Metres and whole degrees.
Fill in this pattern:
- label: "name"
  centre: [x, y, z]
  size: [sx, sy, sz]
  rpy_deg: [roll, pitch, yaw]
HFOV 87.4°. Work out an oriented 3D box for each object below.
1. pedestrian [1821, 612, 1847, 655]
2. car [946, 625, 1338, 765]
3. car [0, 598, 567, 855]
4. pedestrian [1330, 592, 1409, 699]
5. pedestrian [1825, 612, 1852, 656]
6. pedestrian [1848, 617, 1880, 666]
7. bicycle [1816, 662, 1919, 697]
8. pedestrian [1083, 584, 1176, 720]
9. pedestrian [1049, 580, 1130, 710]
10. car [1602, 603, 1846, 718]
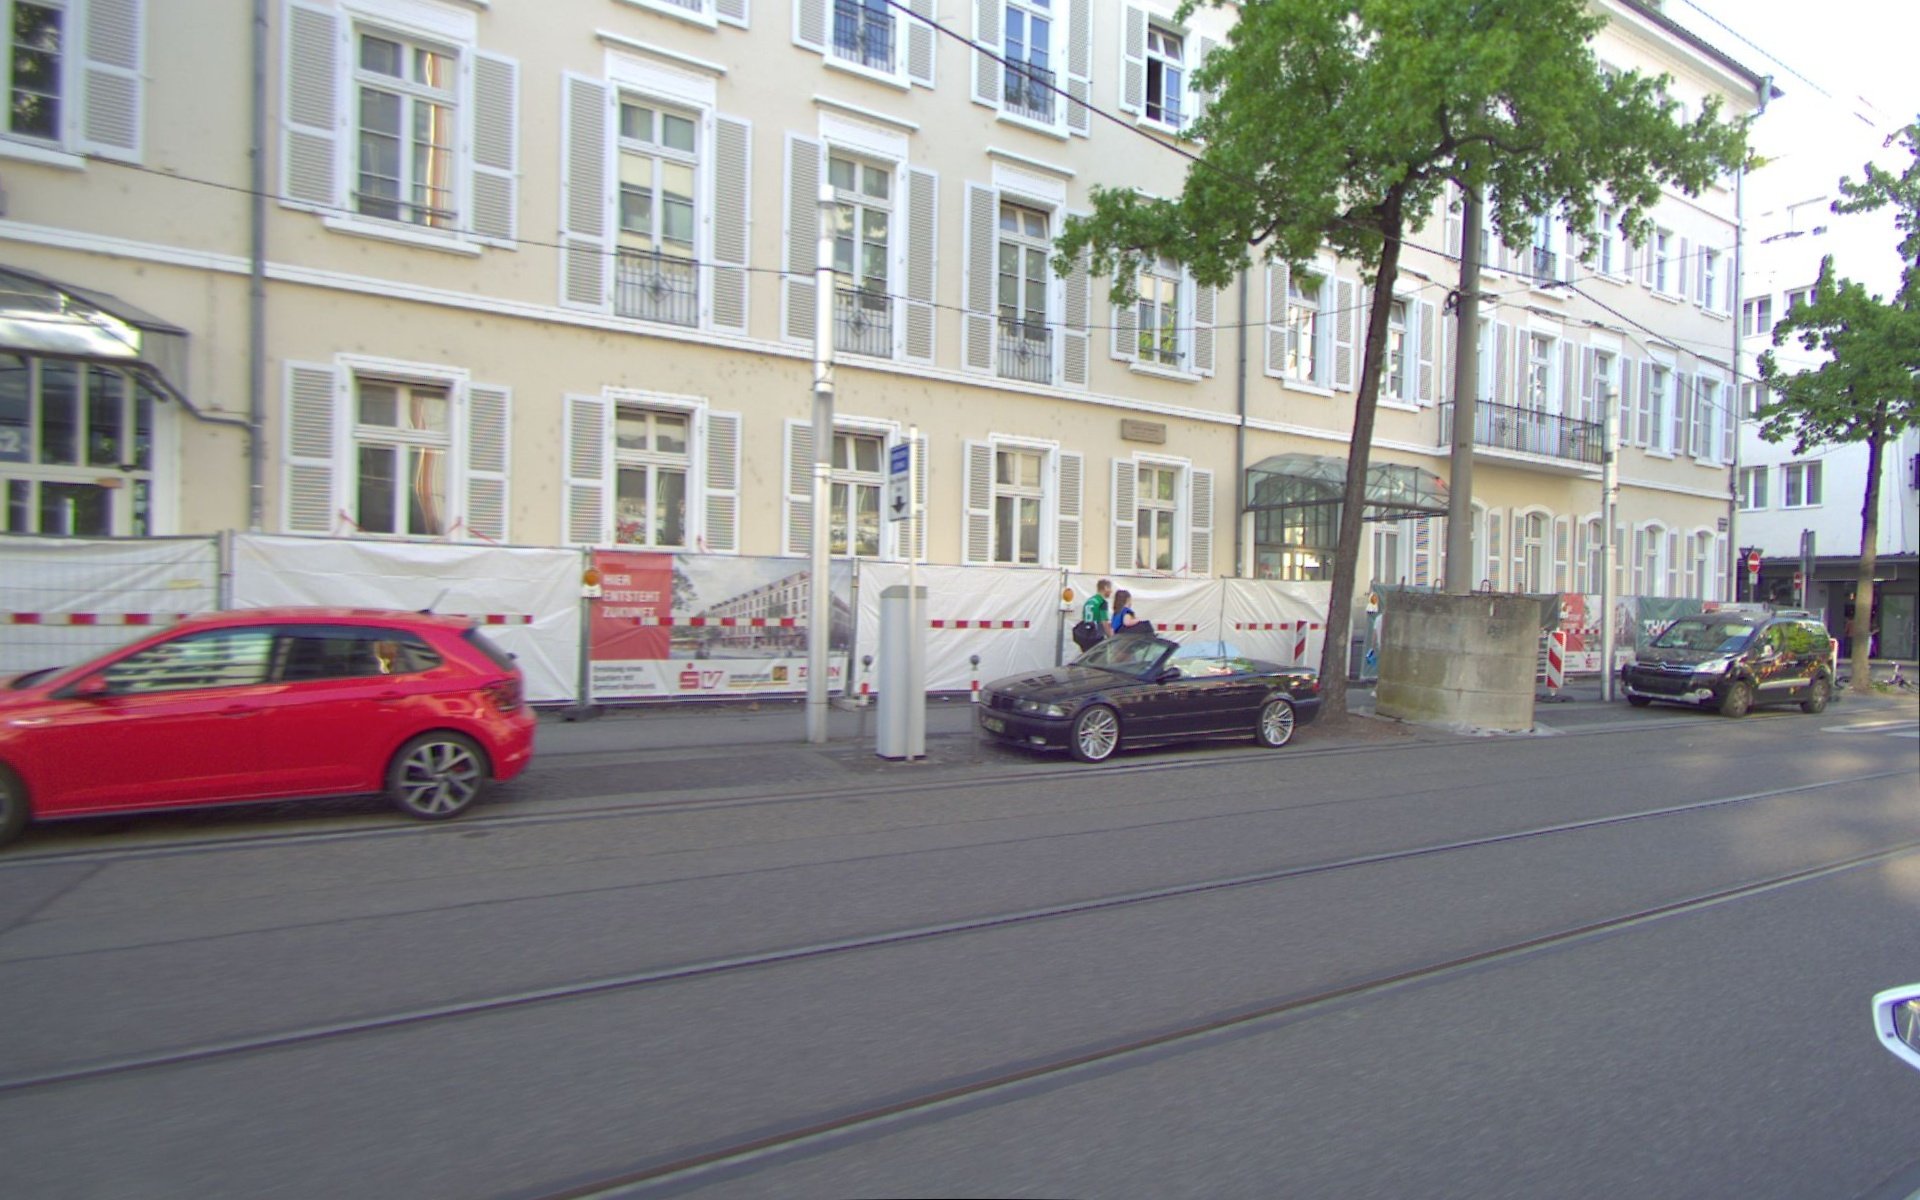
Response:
- label: "pedestrian"
  centre: [33.387, 1.287, 38.383]
  size: [0.608, 1.625, 0.405]
  rpy_deg: [1, 0, 4]
- label: "car"
  centre: [2.196, 0.998, 11.724]
  size: [4.455, 1.262, 1.709]
  rpy_deg: [1, 2, -31]
- label: "car"
  centre: [-5.100, 0.773, 7.154]
  size: [4.091, 1.424, 1.652]
  rpy_deg: [1, 2, -29]
- label: "pedestrian"
  centre: [7.247, 0.789, 17.785]
  size: [0.972, 1.816, 0.771]
  rpy_deg: [1, 2, -28]
- label: "pedestrian"
  centre: [32.947, 1.270, 37.685]
  size: [0.608, 1.625, 0.405]
  rpy_deg: [1, 0, 4]
- label: "pedestrian"
  centre: [31.156, 1.417, 34.614]
  size: [0.787, 1.636, 0.861]
  rpy_deg: [1, 2, 43]
- label: "bicycle"
  centre: [21.031, 1.798, 23.040]
  size: [1.265, 0.617, 1.789]
  rpy_deg: [1, 1, -26]
- label: "pedestrian"
  centre: [2.374, 0.702, 14.129]
  size: [0.874, 1.806, 0.861]
  rpy_deg: [1, 3, -30]
- label: "pedestrian"
  centre: [1.913, 0.651, 14.881]
  size: [0.866, 1.837, 0.715]
  rpy_deg: [1, 3, -30]
- label: "car"
  centre: [13.991, 1.044, 18.358]
  size: [4.503, 1.857, 1.850]
  rpy_deg: [1, 1, -29]
